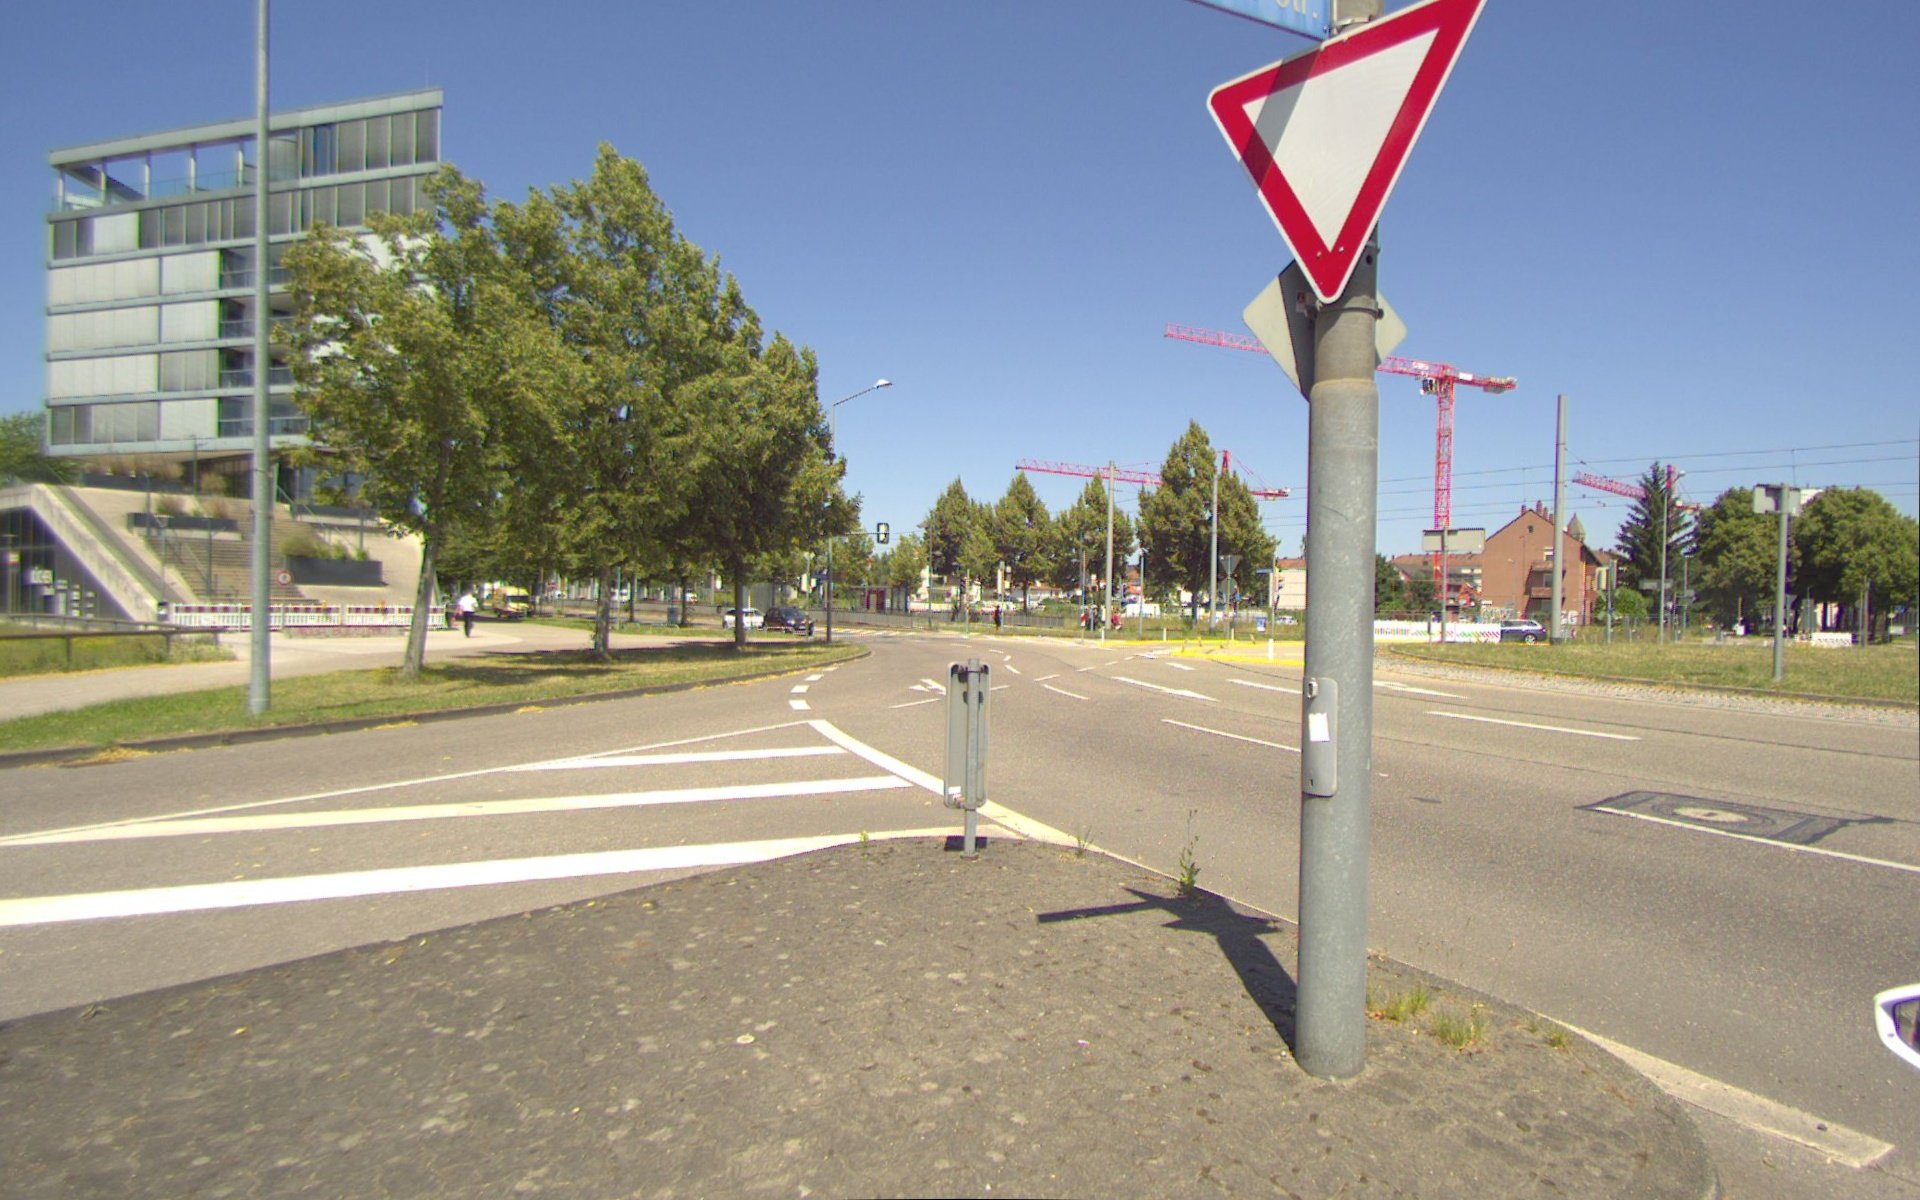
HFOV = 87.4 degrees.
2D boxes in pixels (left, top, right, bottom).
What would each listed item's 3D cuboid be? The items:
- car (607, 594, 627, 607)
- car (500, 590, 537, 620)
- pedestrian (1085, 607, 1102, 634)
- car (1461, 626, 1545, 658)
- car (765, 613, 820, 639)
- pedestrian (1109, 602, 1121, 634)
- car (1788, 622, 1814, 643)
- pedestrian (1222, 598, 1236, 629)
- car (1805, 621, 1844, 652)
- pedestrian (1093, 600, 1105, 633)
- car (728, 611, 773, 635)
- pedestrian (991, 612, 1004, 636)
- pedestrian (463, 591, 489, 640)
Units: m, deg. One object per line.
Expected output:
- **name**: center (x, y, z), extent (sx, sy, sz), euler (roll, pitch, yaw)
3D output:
- **car**: center (-56.877, 0.038, 166.715), extent (1.982, 2.040, 3.860), euler (2, 1, -37)
- **car**: center (-38.554, 0.441, 87.689), extent (1.982, 2.542, 3.956), euler (1, 0, -38)
- **pedestrian**: center (8.572, 1.311, 64.644), extent (0.750, 1.661, 0.777), euler (2, 1, -23)
- **car**: center (30.455, 2.341, 56.454), extent (3.923, 1.483, 1.999), euler (3, 1, 24)
- **car**: center (-9.287, 1.432, 55.554), extent (1.723, 1.228, 3.533), euler (2, 1, -33)
- **pedestrian**: center (9.558, 1.127, 61.994), extent (0.617, 1.960, 0.646), euler (1, 0, 20)
- **car**: center (87.407, 3.369, 104.375), extent (1.971, 2.040, 3.980), euler (3, 1, 41)
- **pedestrian**: center (18.081, 0.878, 67.510), extent (0.589, 2.040, 0.597), euler (2, 1, -36)
- **car**: center (61.768, 2.572, 71.793), extent (1.971, 2.040, 3.980), euler (3, 1, 41)
- **pedestrian**: center (8.537, 1.006, 61.609), extent (0.617, 1.960, 0.646), euler (1, 0, 20)
- **car**: center (-12.582, 1.376, 60.264), extent (1.561, 1.242, 3.292), euler (2, 1, -33)
- **pedestrian**: center (2.215, 1.405, 59.371), extent (0.591, 1.425, 0.539), euler (1, 0, -33)
- **pedestrian**: center (-19.060, 0.608, 39.559), extent (0.823, 1.894, 0.608), euler (2, 1, -22)
